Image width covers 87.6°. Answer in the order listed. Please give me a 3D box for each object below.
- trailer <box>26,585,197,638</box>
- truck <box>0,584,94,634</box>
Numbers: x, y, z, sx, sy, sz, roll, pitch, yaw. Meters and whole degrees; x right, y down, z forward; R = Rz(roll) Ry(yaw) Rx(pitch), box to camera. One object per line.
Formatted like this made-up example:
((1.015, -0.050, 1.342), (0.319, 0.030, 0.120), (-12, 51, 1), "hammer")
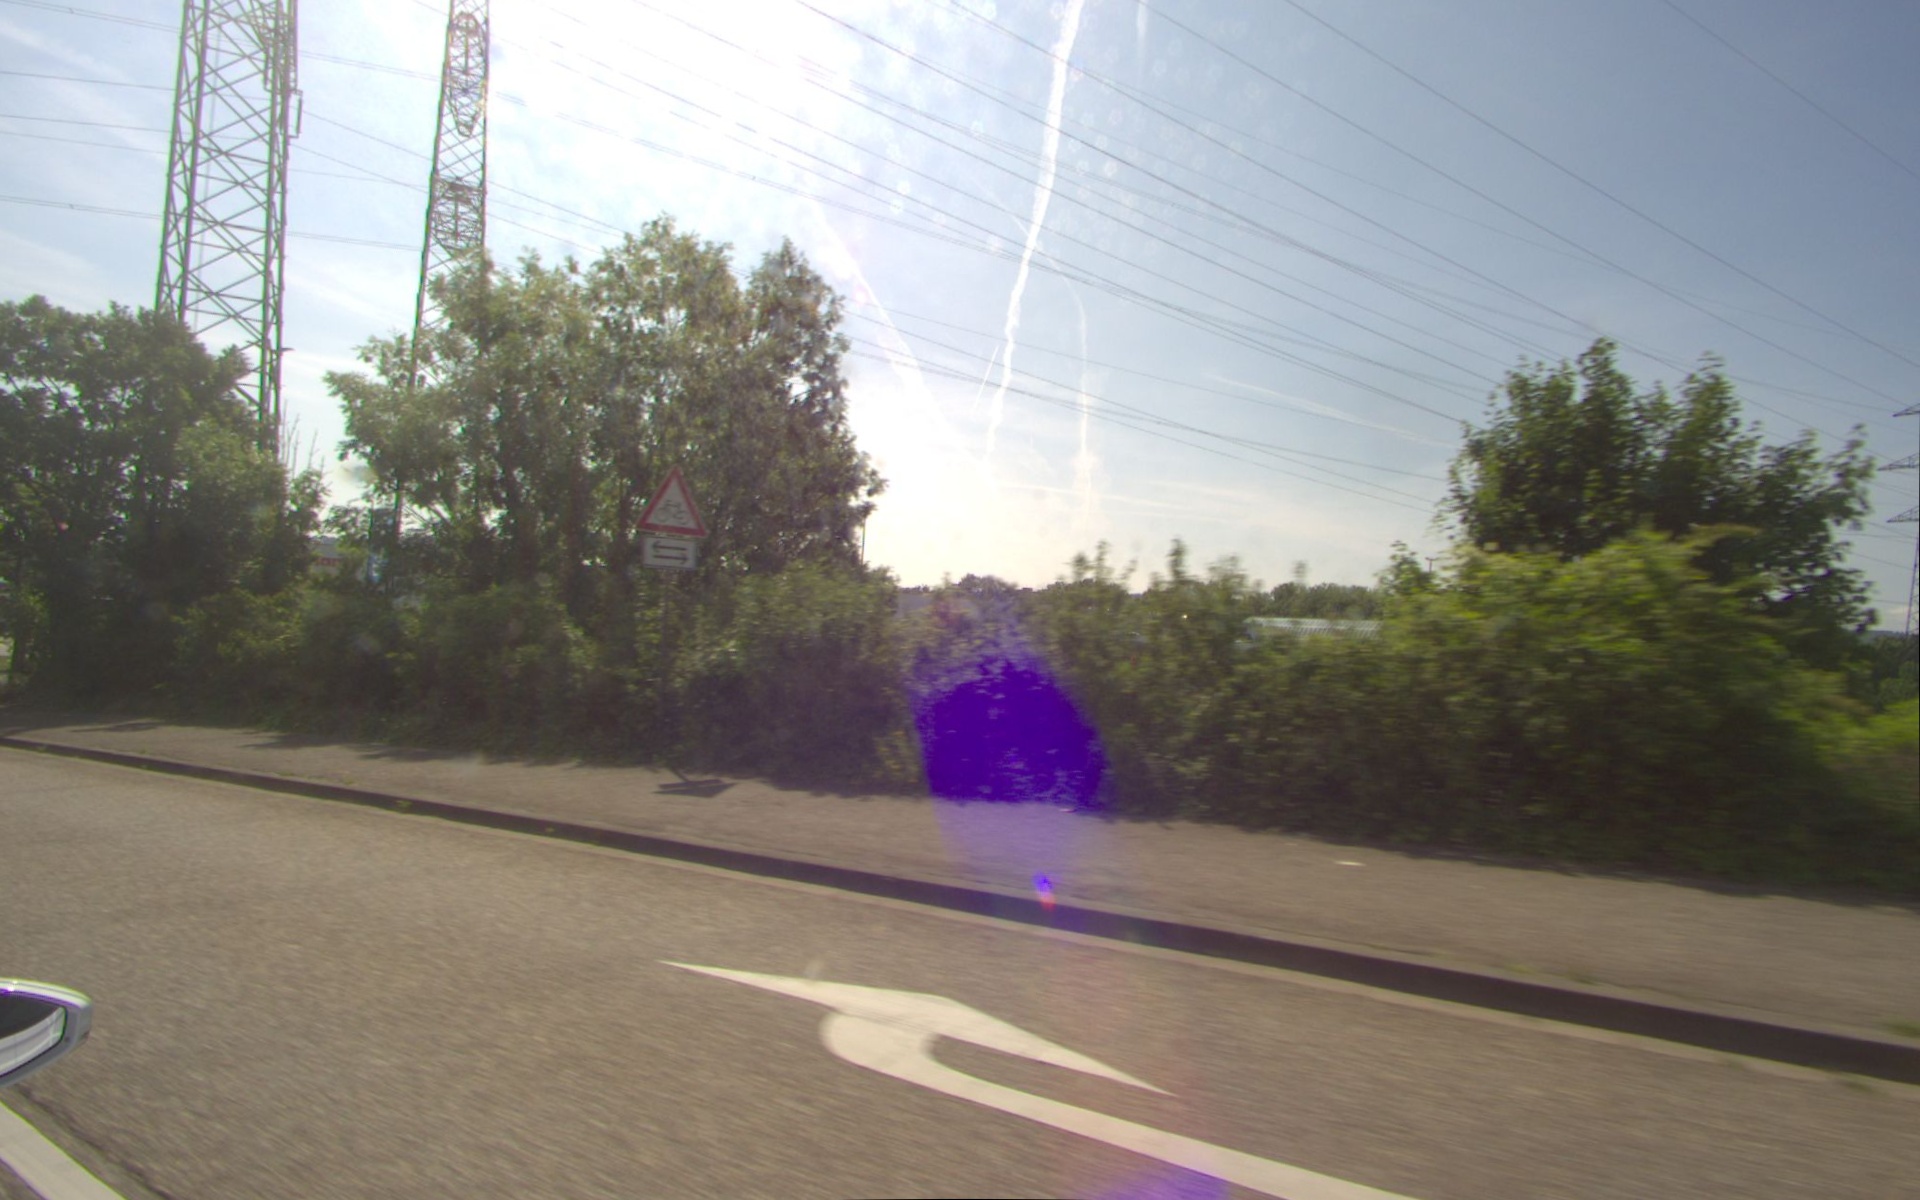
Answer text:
((-84.361, 1.209, 100.094), (12.561, 4.473, 3.730), (4, -1, -35), "trailer")
((-88.608, 0.896, 97.102), (6.487, 4.473, 3.730), (4, -1, -35), "truck")
